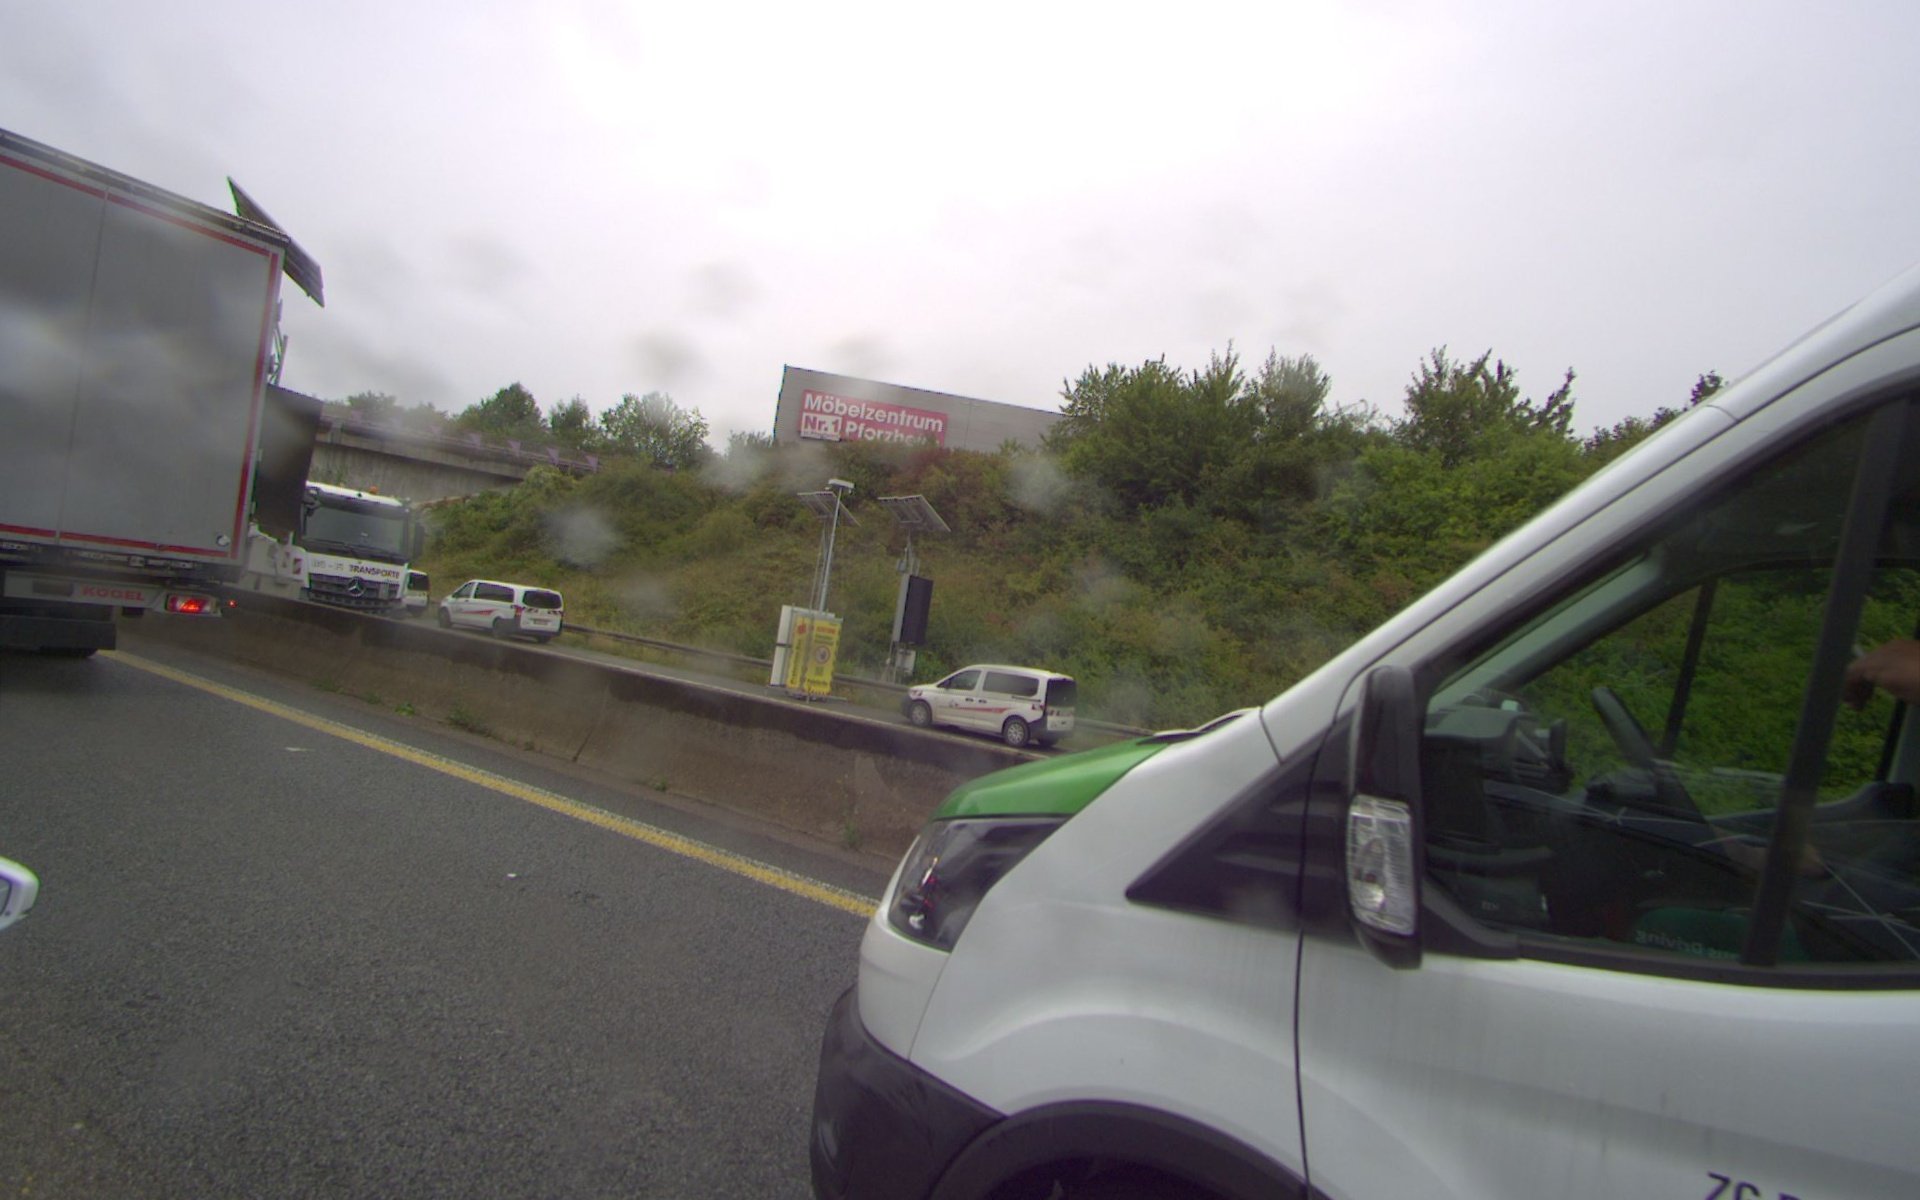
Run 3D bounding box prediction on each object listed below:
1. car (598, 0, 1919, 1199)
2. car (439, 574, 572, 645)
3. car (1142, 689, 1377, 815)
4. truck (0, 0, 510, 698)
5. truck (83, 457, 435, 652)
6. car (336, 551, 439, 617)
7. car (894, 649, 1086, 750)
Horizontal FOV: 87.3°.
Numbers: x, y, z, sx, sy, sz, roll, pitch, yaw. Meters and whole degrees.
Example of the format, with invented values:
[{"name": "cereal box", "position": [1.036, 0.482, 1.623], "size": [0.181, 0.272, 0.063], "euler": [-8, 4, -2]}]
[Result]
[{"name": "car", "position": [2.483, 0.436, 1.253], "size": [6.018, 2.707, 2.147], "euler": [6, -1, 34]}, {"name": "car", "position": [-15.879, 0.314, 35.100], "size": [4.652, 1.850, 1.945], "euler": [6, -2, 35]}, {"name": "car", "position": [6.208, 3.079, 21.012], "size": [4.257, 1.790, 1.732], "euler": [7, -1, 31]}, {"name": "truck", "position": [-13.923, -3.087, 12.953], "size": [20.042, 5.740, 3.986], "euler": [6, -1, 33]}, {"name": "truck", "position": [-15.016, -1.084, 21.222], "size": [8.968, 3.168, 2.525], "euler": [6, -1, 32]}, {"name": "car", "position": [-22.505, -0.627, 39.476], "size": [4.058, 2.082, 1.731], "euler": [6, -1, 35]}, {"name": "car", "position": [0.698, 2.370, 24.484], "size": [4.197, 1.778, 1.732], "euler": [7, -1, 31]}]
